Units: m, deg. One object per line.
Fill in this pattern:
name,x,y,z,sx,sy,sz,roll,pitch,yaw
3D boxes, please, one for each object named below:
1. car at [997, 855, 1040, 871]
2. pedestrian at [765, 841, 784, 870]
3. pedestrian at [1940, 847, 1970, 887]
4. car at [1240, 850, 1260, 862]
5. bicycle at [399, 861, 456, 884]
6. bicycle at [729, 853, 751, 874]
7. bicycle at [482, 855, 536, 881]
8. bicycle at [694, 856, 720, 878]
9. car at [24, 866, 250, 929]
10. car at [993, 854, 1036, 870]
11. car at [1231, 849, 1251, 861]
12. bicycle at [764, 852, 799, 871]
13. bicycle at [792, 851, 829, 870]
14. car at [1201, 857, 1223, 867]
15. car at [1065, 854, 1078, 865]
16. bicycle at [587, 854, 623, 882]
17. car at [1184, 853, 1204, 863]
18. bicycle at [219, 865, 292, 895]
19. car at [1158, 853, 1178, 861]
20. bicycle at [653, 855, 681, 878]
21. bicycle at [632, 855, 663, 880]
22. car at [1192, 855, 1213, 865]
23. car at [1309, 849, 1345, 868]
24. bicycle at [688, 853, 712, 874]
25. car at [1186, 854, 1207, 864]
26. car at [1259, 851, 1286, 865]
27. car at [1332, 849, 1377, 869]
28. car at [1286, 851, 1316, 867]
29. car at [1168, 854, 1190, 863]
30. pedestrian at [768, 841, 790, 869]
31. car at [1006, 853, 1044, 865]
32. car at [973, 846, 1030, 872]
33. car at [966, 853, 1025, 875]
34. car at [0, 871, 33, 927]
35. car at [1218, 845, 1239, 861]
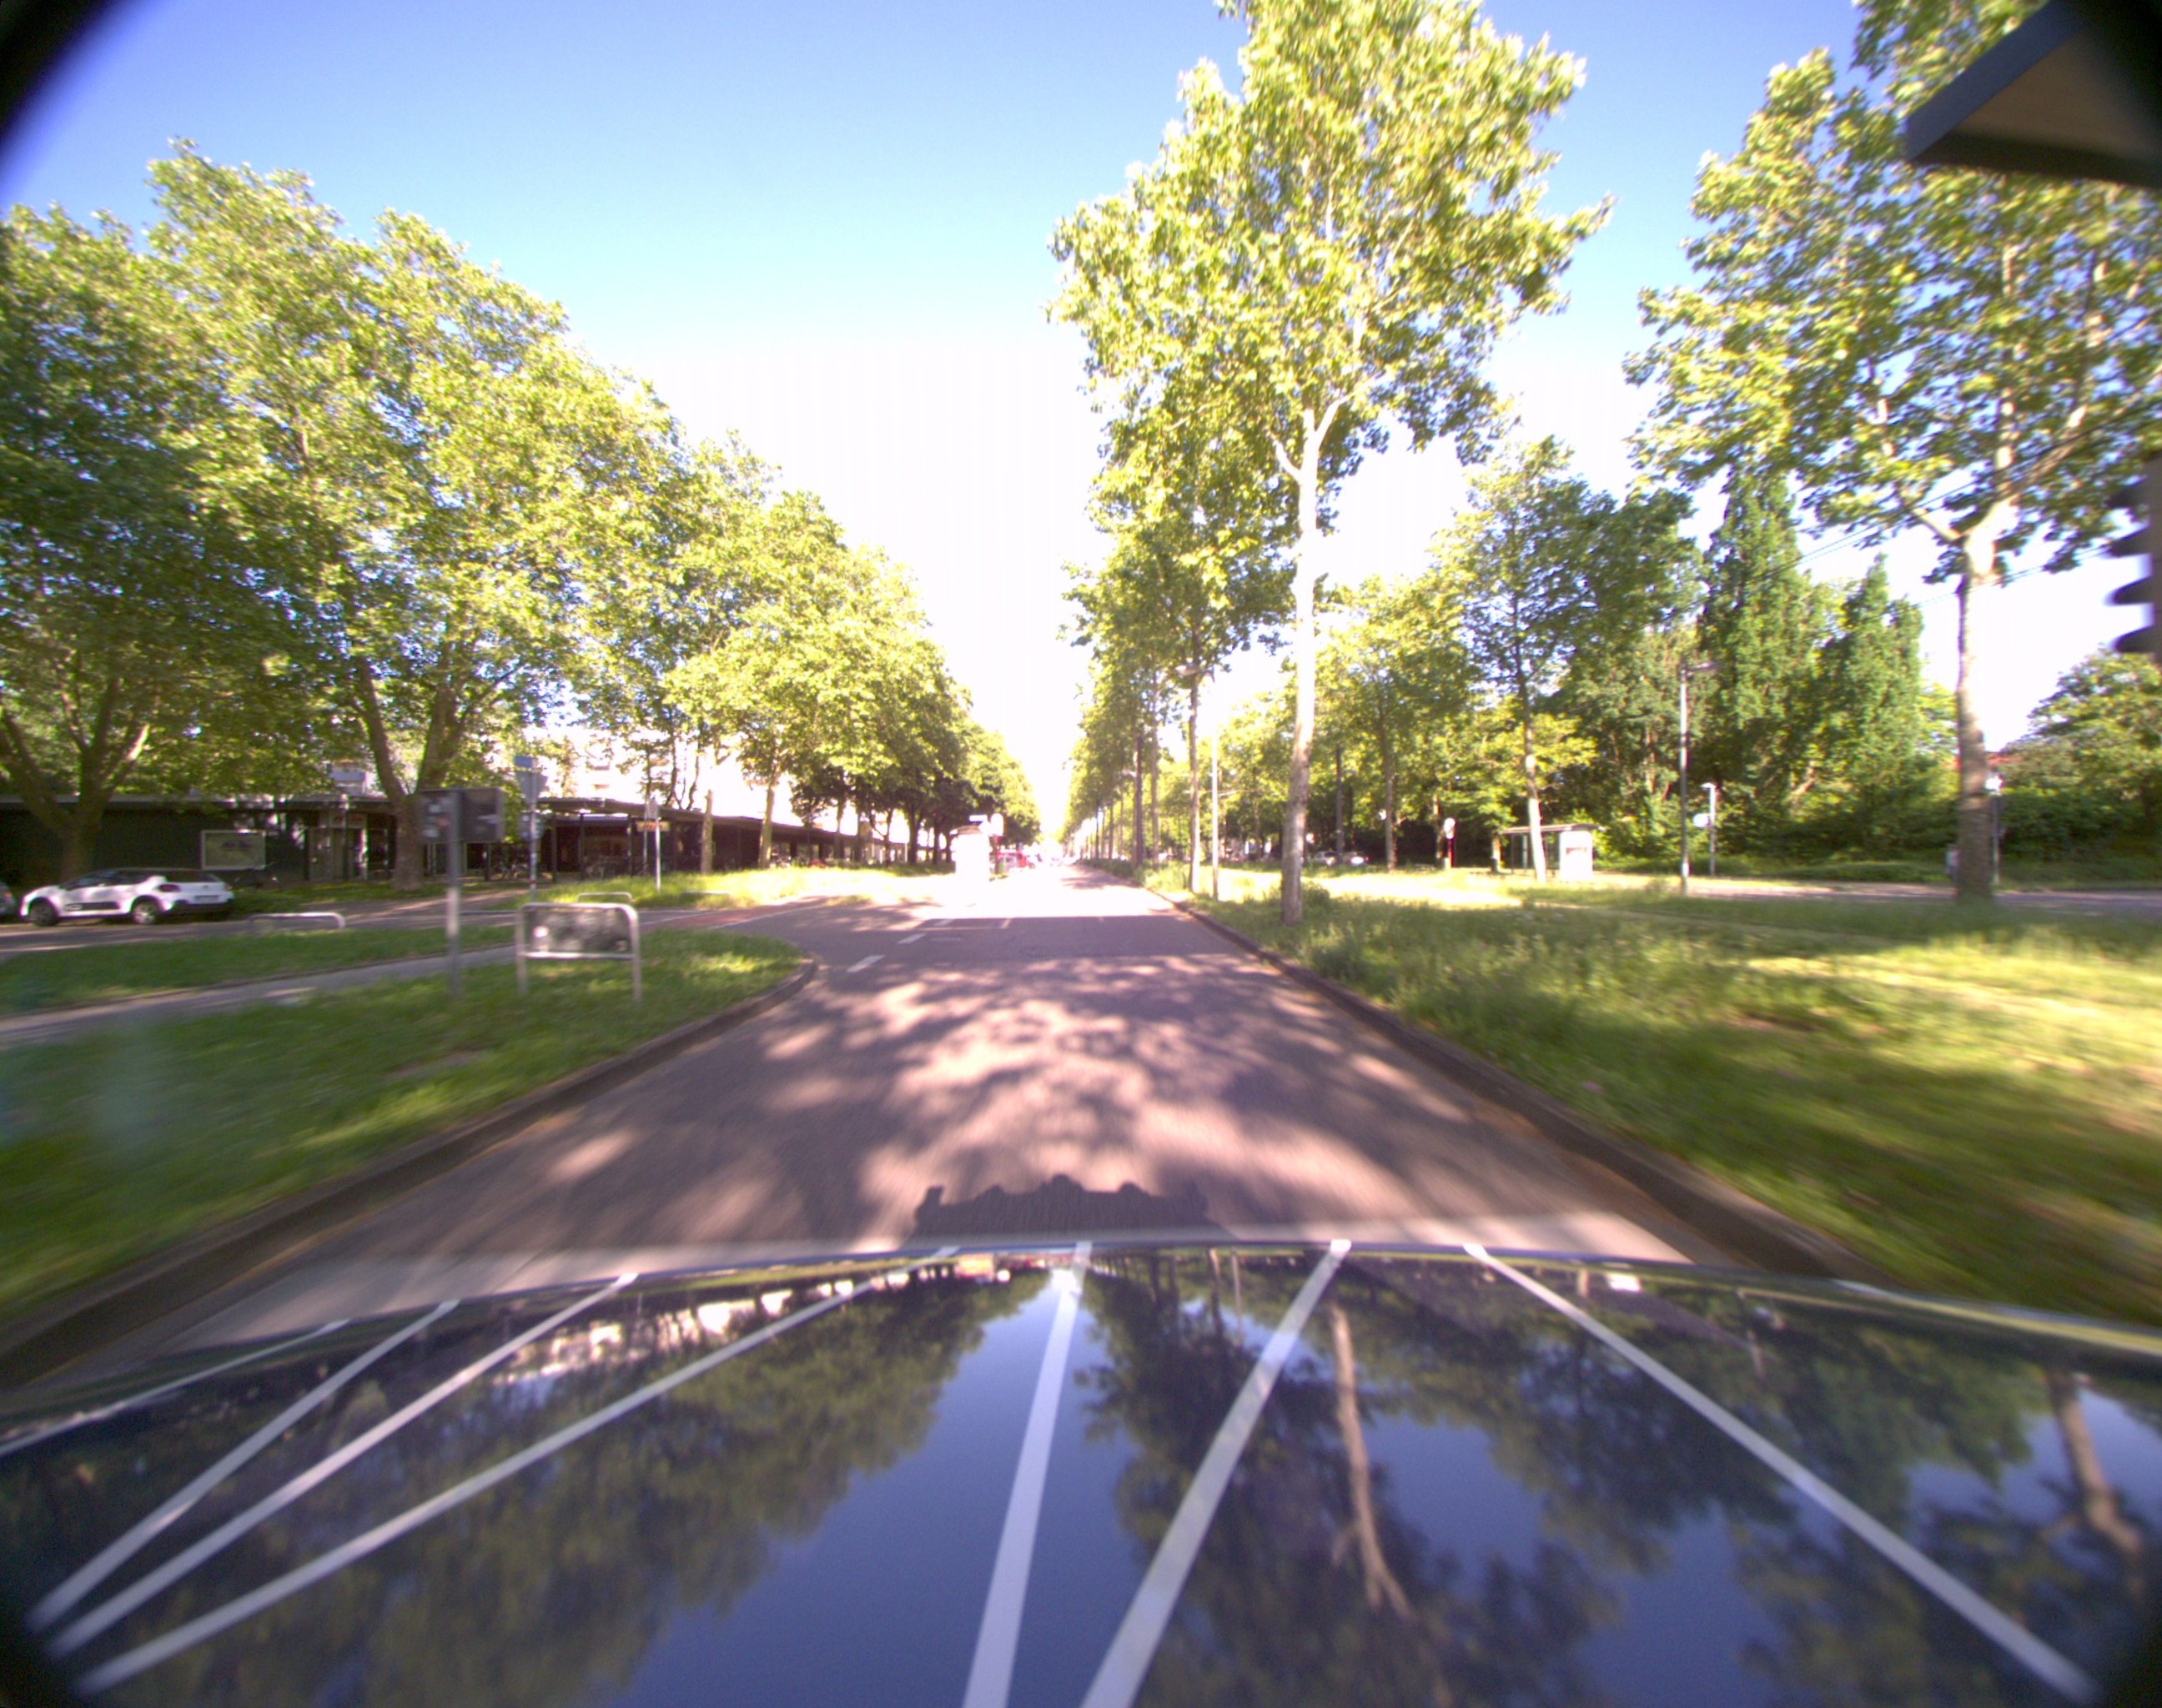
car,-6.593,0.976,80.663,4.312,1.666,1.862,-1,0,-44
pedestrian,-19.923,0.104,49.438,0.967,1.830,0.952,0,1,-9
pedestrian,33.245,0.479,28.910,0.534,1.483,0.588,-1,1,21
car,21.429,0.253,96.502,1.545,1.480,3.569,-4,0,-1
bicycle,-29.374,0.815,34.174,1.806,0.949,0.710,2,0,-7
bicycle,-21.937,0.596,48.941,0.577,1.246,1.806,-2,1,-1
bicycle,-25.953,0.624,34.491,1.806,1.109,0.710,0,2,-7
bicycle,-21.662,0.745,44.034,0.577,1.246,1.806,-2,1,-1
car,-24.827,1.130,20.094,3.738,1.486,1.710,-1,-2,-1
car,-6.362,0.774,72.941,1.681,1.395,4.096,1,0,42
car,21.399,0.095,101.854,1.754,1.487,3.816,-4,1,-1
bicycle,-18.442,0.447,46.756,2.069,1.151,0.562,1,1,14
bicycle,-16.298,0.388,45.803,2.073,1.151,0.561,1,1,-10
car,21.026,1.254,122.062,1.884,1.558,4.008,-1,1,35
car,-1.524,0.904,124.237,1.897,1.623,4.502,-2,0,2
bicycle,-22.709,0.644,36.264,0.577,1.246,1.806,-2,1,-1
car,21.666,0.825,145.141,1.895,1.699,4.508,-1,1,35
bicycle,-30.953,0.956,28.548,0.506,0.955,2.193,0,3,-6
car,19.626,0.710,171.493,4.006,1.699,1.837,-2,1,-32
bicycle,-23.047,0.685,42.334,0.577,1.246,1.806,-2,1,-1
bicycle,-22.931,0.700,40.259,0.577,1.246,1.806,-2,1,-1
car,20.906,1.077,130.519,1.884,1.558,4.008,-1,1,35
car,22.210,0.366,68.680,1.820,1.587,4.189,-4,1,0
bicycle,-23.482,0.588,46.842,0.577,1.246,1.806,-2,1,-1
car,21.105,0.856,138.726,1.895,1.699,4.508,-1,1,35
car,21.719,0.419,86.319,1.843,1.480,4.178,-4,0,-3
car,22.329,0.396,62.148,1.902,1.480,4.626,-4,1,0
car,21.962,0.456,75.860,1.723,1.410,4.023,-4,0,0
car,20.813,1.010,161.694,4.507,1.699,1.895,-2,1,-32
pedestrian,-18.526,0.078,46.631,1.131,1.698,0.732,0,1,-9
car,-7.096,0.589,96.402,1.994,1.417,4.687,1,0,42
car,-5.832,0.399,55.997,1.763,1.832,3.960,1,0,45
car,-5.841,0.674,52.228,3.838,1.464,1.514,1,0,-44
car,-30.630,1.224,19.704,3.986,1.486,1.667,-1,-2,-11
car,21.064,-0.188,108.706,1.987,2.045,4.277,-4,1,-2
